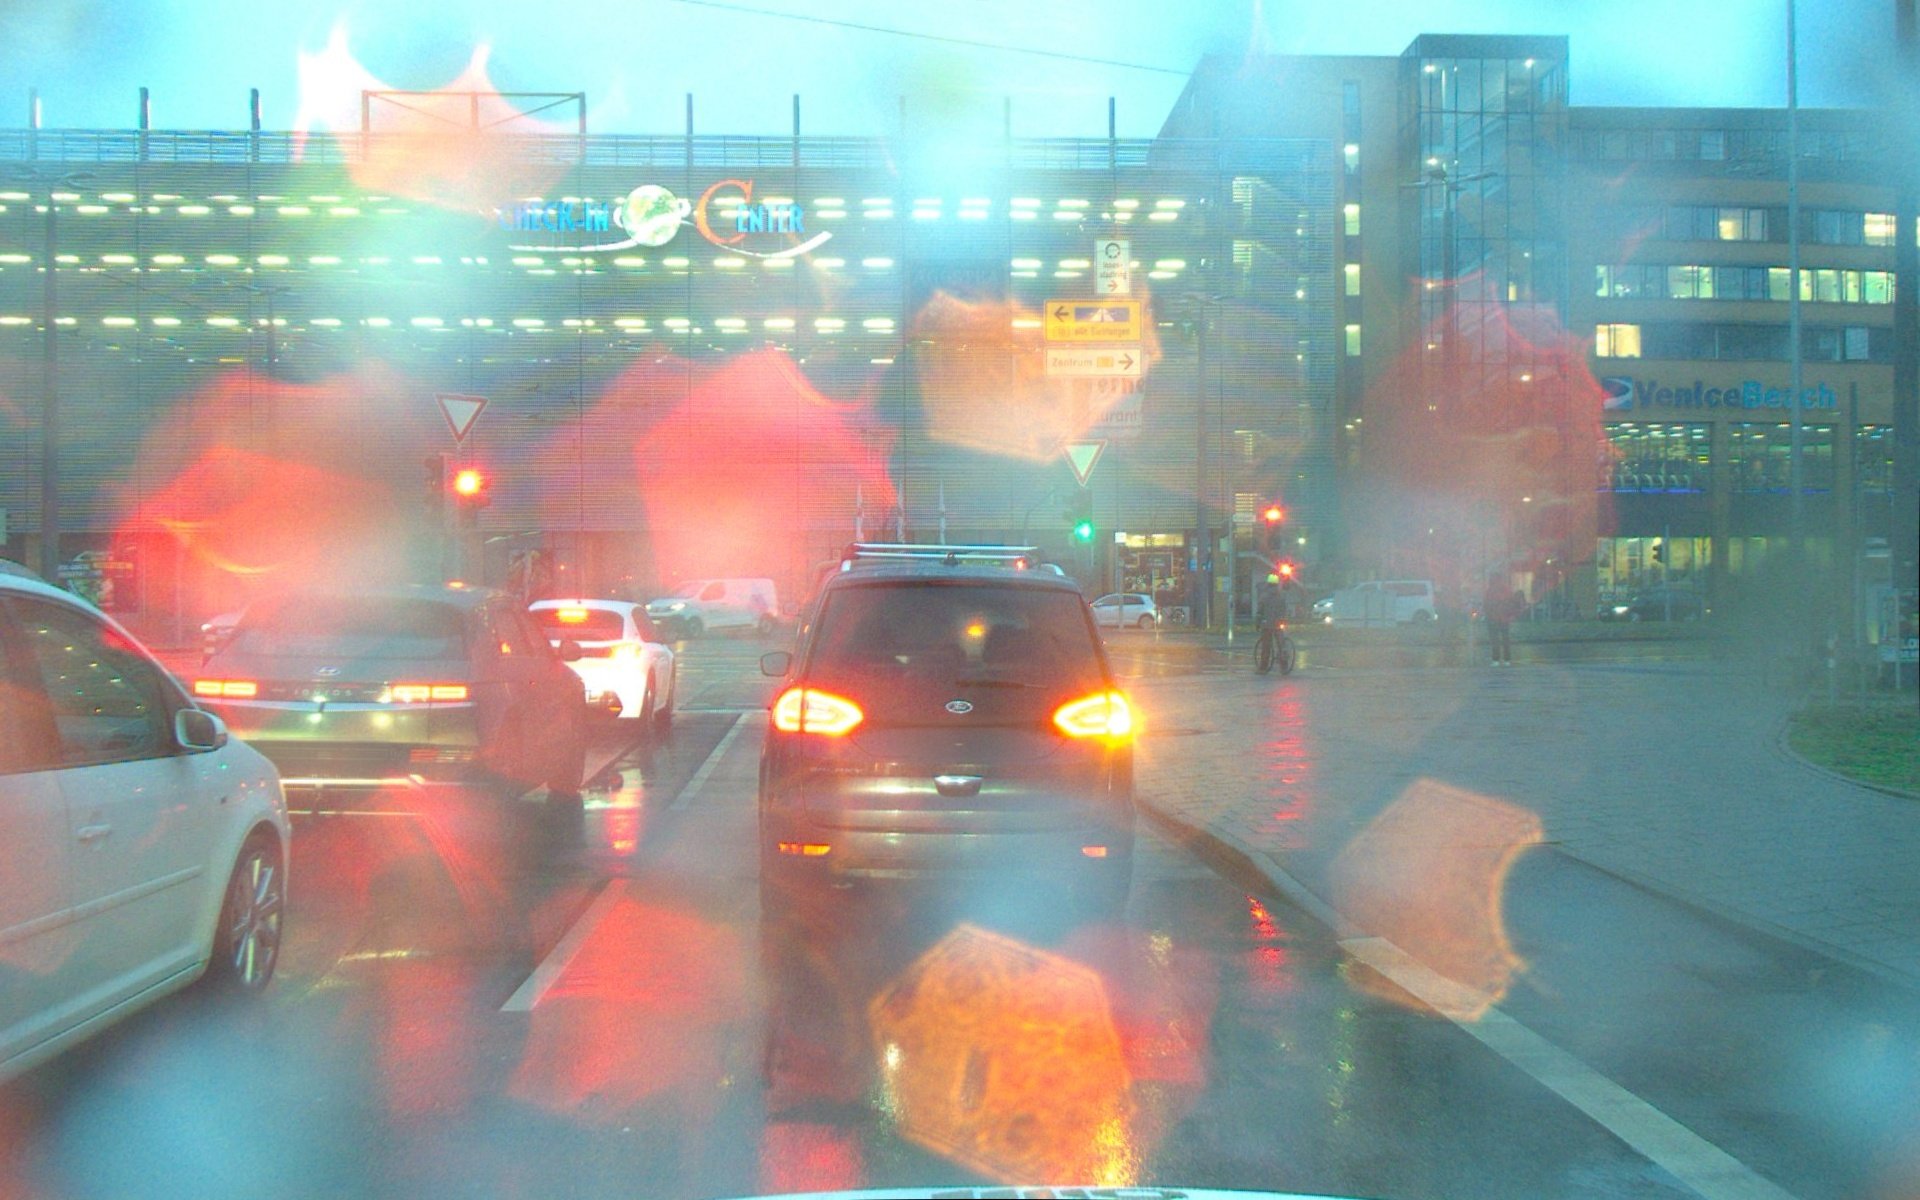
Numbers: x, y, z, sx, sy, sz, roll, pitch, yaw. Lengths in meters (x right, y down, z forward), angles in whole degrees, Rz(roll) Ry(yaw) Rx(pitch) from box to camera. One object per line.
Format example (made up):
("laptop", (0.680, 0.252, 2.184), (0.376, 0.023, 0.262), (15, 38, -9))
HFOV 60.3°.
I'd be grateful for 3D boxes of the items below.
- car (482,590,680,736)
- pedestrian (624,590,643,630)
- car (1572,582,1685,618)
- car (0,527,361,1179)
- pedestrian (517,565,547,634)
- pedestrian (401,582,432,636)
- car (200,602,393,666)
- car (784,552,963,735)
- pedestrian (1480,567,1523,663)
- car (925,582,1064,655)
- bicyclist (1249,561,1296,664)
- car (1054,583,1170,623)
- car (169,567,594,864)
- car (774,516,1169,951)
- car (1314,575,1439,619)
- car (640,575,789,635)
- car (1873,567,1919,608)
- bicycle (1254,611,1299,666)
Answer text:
("car", (-4.201, 0.642, 18.866), (1.724, 1.489, 3.912), (0, 0, -6))
("pedestrian", (-15.004, 0.458, 75.904), (0.772, 1.818, 0.732), (0, 0, -6))
("car", (28.026, 0.006, 69.378), (4.337, 1.470, 1.622), (0, 0, -16))
("car", (-3.226, 0.621, 4.678), (1.637, 1.627, 4.221), (1, 0, -2))
("pedestrian", (-18.640, -0.024, 72.034), (0.943, 2.976, 1.113), (1, -1, -1))
("pedestrian", (-25.465, 0.440, 77.497), (1.087, 2.482, 0.966), (1, -1, -1))
("car", (-15.706, 0.773, 39.430), (1.607, 1.410, 4.475), (0, 0, 22))
("car", (-1.048, 0.423, 18.965), (1.807, 1.837, 4.482), (0, 0, -5))
("pedestrian", (10.840, 0.294, 33.104), (0.757, 1.910, 0.635), (0, 0, 22))
("car", (0.754, 0.345, 33.437), (1.606, 1.385, 3.733), (0, 0, 22))
("bicyclist", (5.941, 0.236, 31.449), (0.774, 1.923, 0.990), (0, 0, 5))
("car", (5.962, 0.096, 65.213), (4.247, 1.512, 1.862), (0, 0, -10))
("car", (-3.634, 0.619, 11.223), (1.786, 1.597, 4.355), (0, 0, -7))
("car", (0.017, 0.568, 9.053), (1.640, 1.810, 3.999), (2, 0, -1))
("car", (16.692, -0.138, 66.347), (4.553, 1.707, 1.782), (0, 0, -10))
("car", (-8.160, 0.143, 55.328), (1.870, 1.904, 4.936), (0, 0, 40))
("car", (42.549, -0.552, 72.254), (4.512, 1.749, 1.925), (0, 0, -11))
("bicycle", (6.015, 0.725, 31.508), (0.641, 0.990, 1.867), (0, 0, 5))
